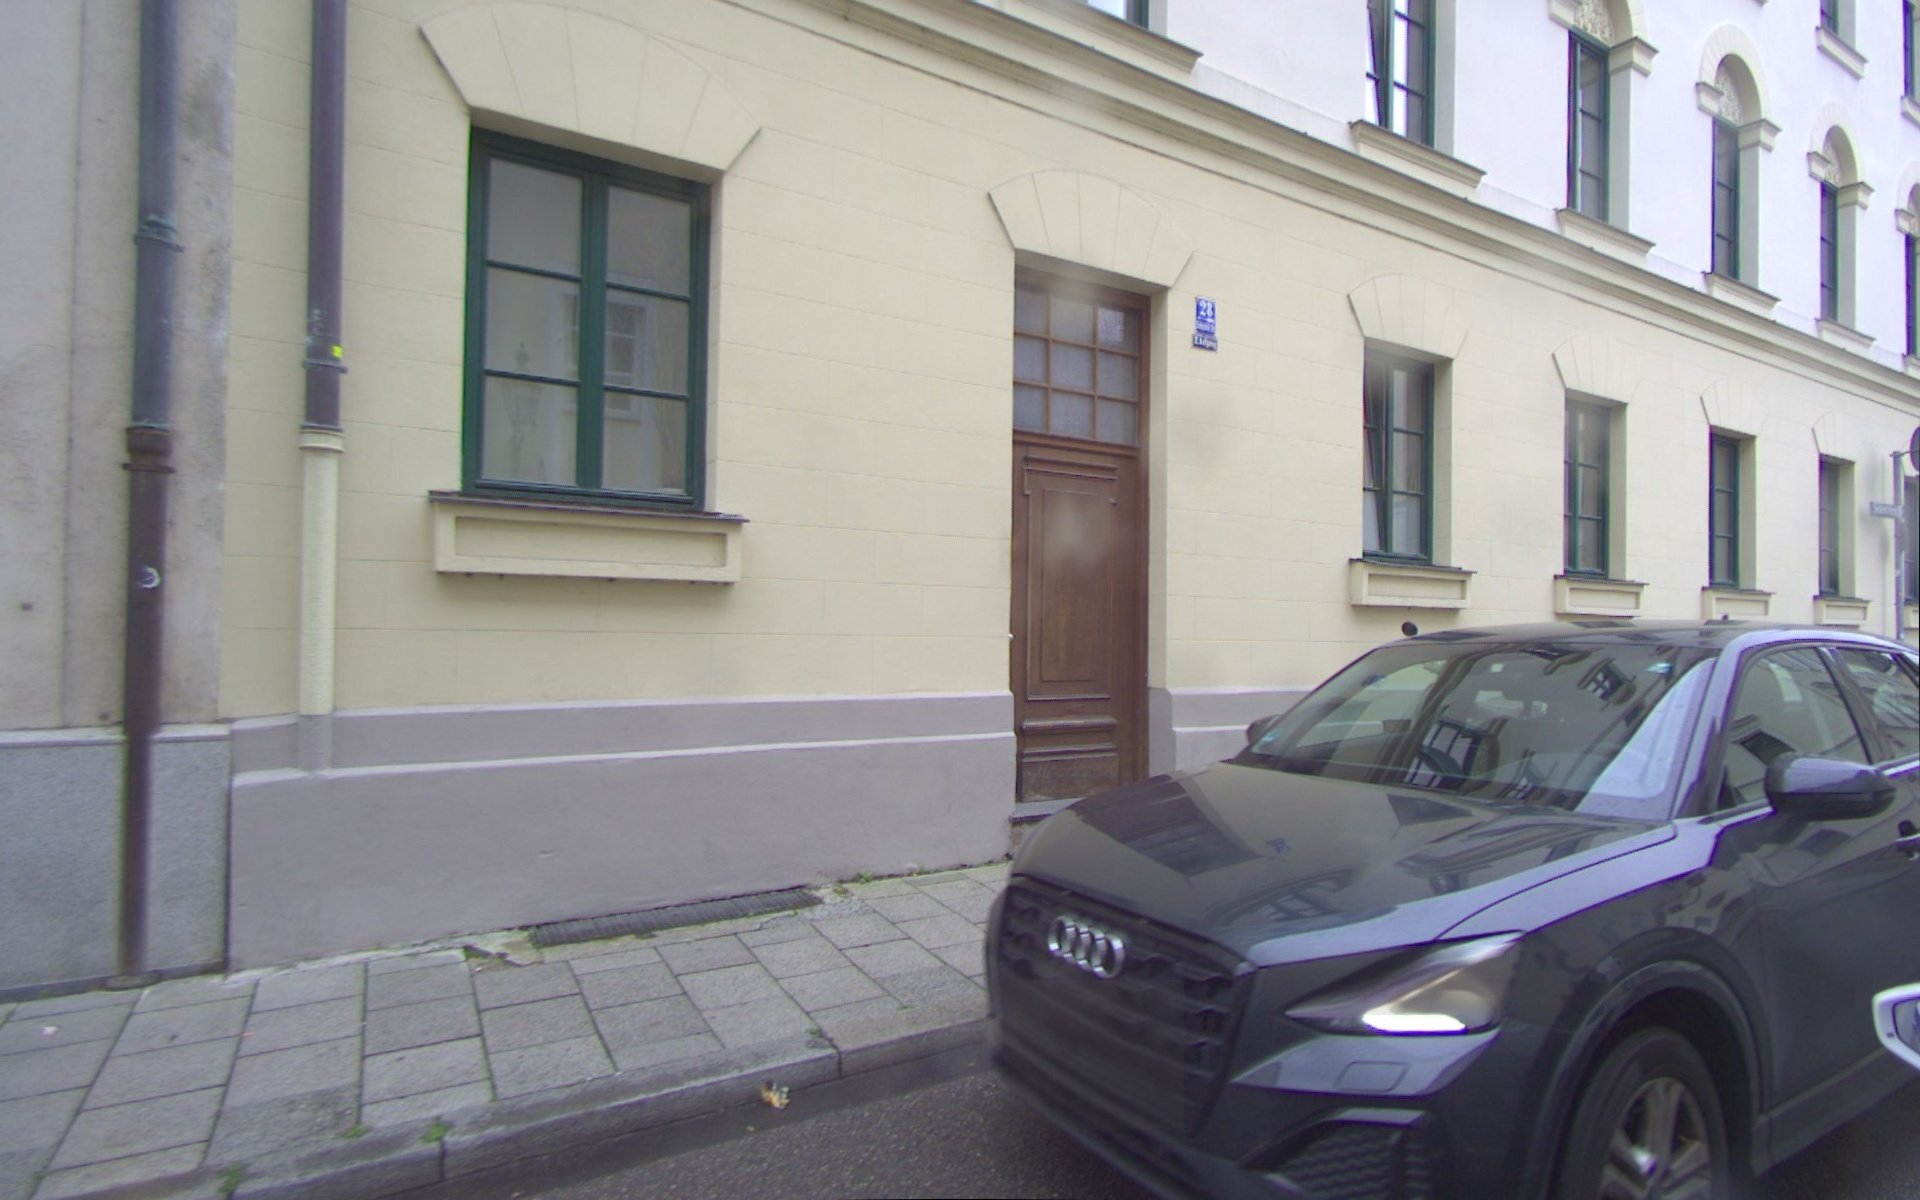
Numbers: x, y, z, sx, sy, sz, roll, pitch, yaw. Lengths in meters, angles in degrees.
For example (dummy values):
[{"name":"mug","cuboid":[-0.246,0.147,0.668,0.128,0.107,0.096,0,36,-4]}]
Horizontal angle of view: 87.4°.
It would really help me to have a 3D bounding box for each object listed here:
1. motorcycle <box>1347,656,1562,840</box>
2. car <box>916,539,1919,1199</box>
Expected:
[{"name":"motorcycle","cuboid":[3.661,1.025,7.399,1.689,1.189,0.599,1,-1,-31]},{"name":"car","cuboid":[2.017,0.765,3.363,3.952,1.615,1.804,1,-1,-30]}]
